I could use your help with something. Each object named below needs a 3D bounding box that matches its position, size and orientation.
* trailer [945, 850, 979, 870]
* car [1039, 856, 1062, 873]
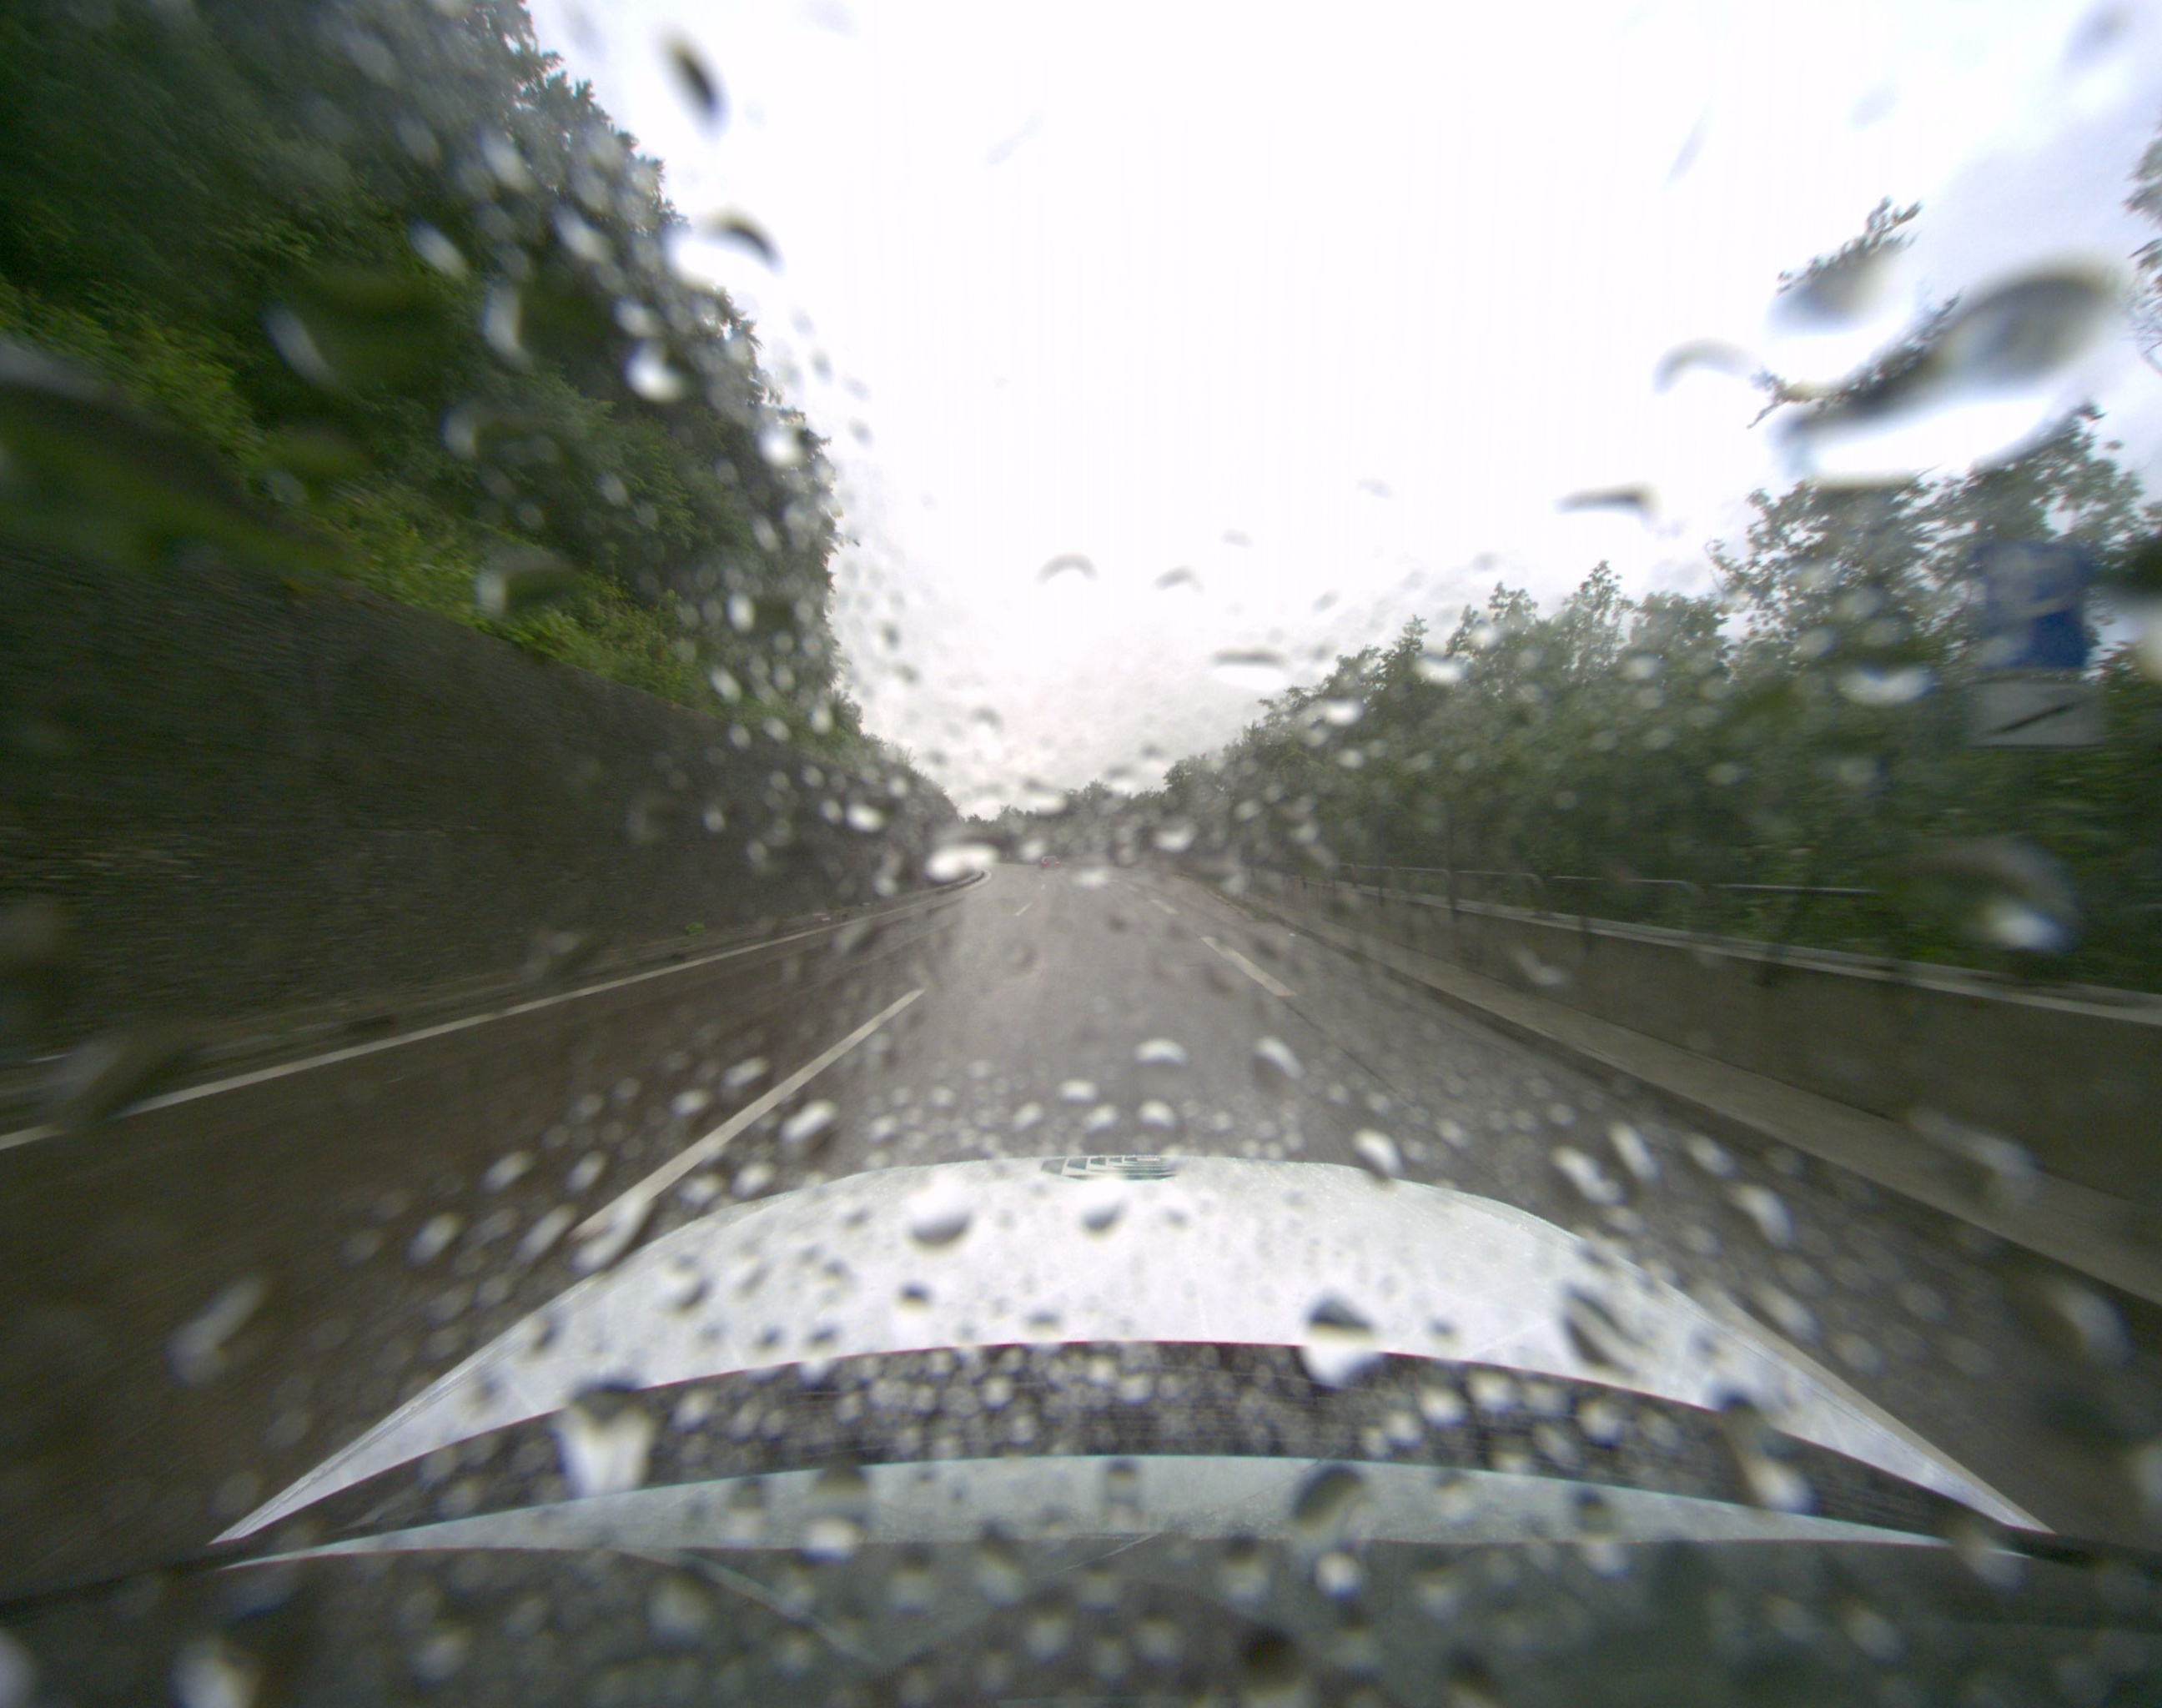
[{"bbox_3d":[-26.595,1.255,180.621,2.908,4.245,14.566,0,0,-27],"label":"trailer"},{"bbox_3d":[-2.880,0.981,75.444,1.901,1.499,3.992,1,0,-6],"label":"car"}]
